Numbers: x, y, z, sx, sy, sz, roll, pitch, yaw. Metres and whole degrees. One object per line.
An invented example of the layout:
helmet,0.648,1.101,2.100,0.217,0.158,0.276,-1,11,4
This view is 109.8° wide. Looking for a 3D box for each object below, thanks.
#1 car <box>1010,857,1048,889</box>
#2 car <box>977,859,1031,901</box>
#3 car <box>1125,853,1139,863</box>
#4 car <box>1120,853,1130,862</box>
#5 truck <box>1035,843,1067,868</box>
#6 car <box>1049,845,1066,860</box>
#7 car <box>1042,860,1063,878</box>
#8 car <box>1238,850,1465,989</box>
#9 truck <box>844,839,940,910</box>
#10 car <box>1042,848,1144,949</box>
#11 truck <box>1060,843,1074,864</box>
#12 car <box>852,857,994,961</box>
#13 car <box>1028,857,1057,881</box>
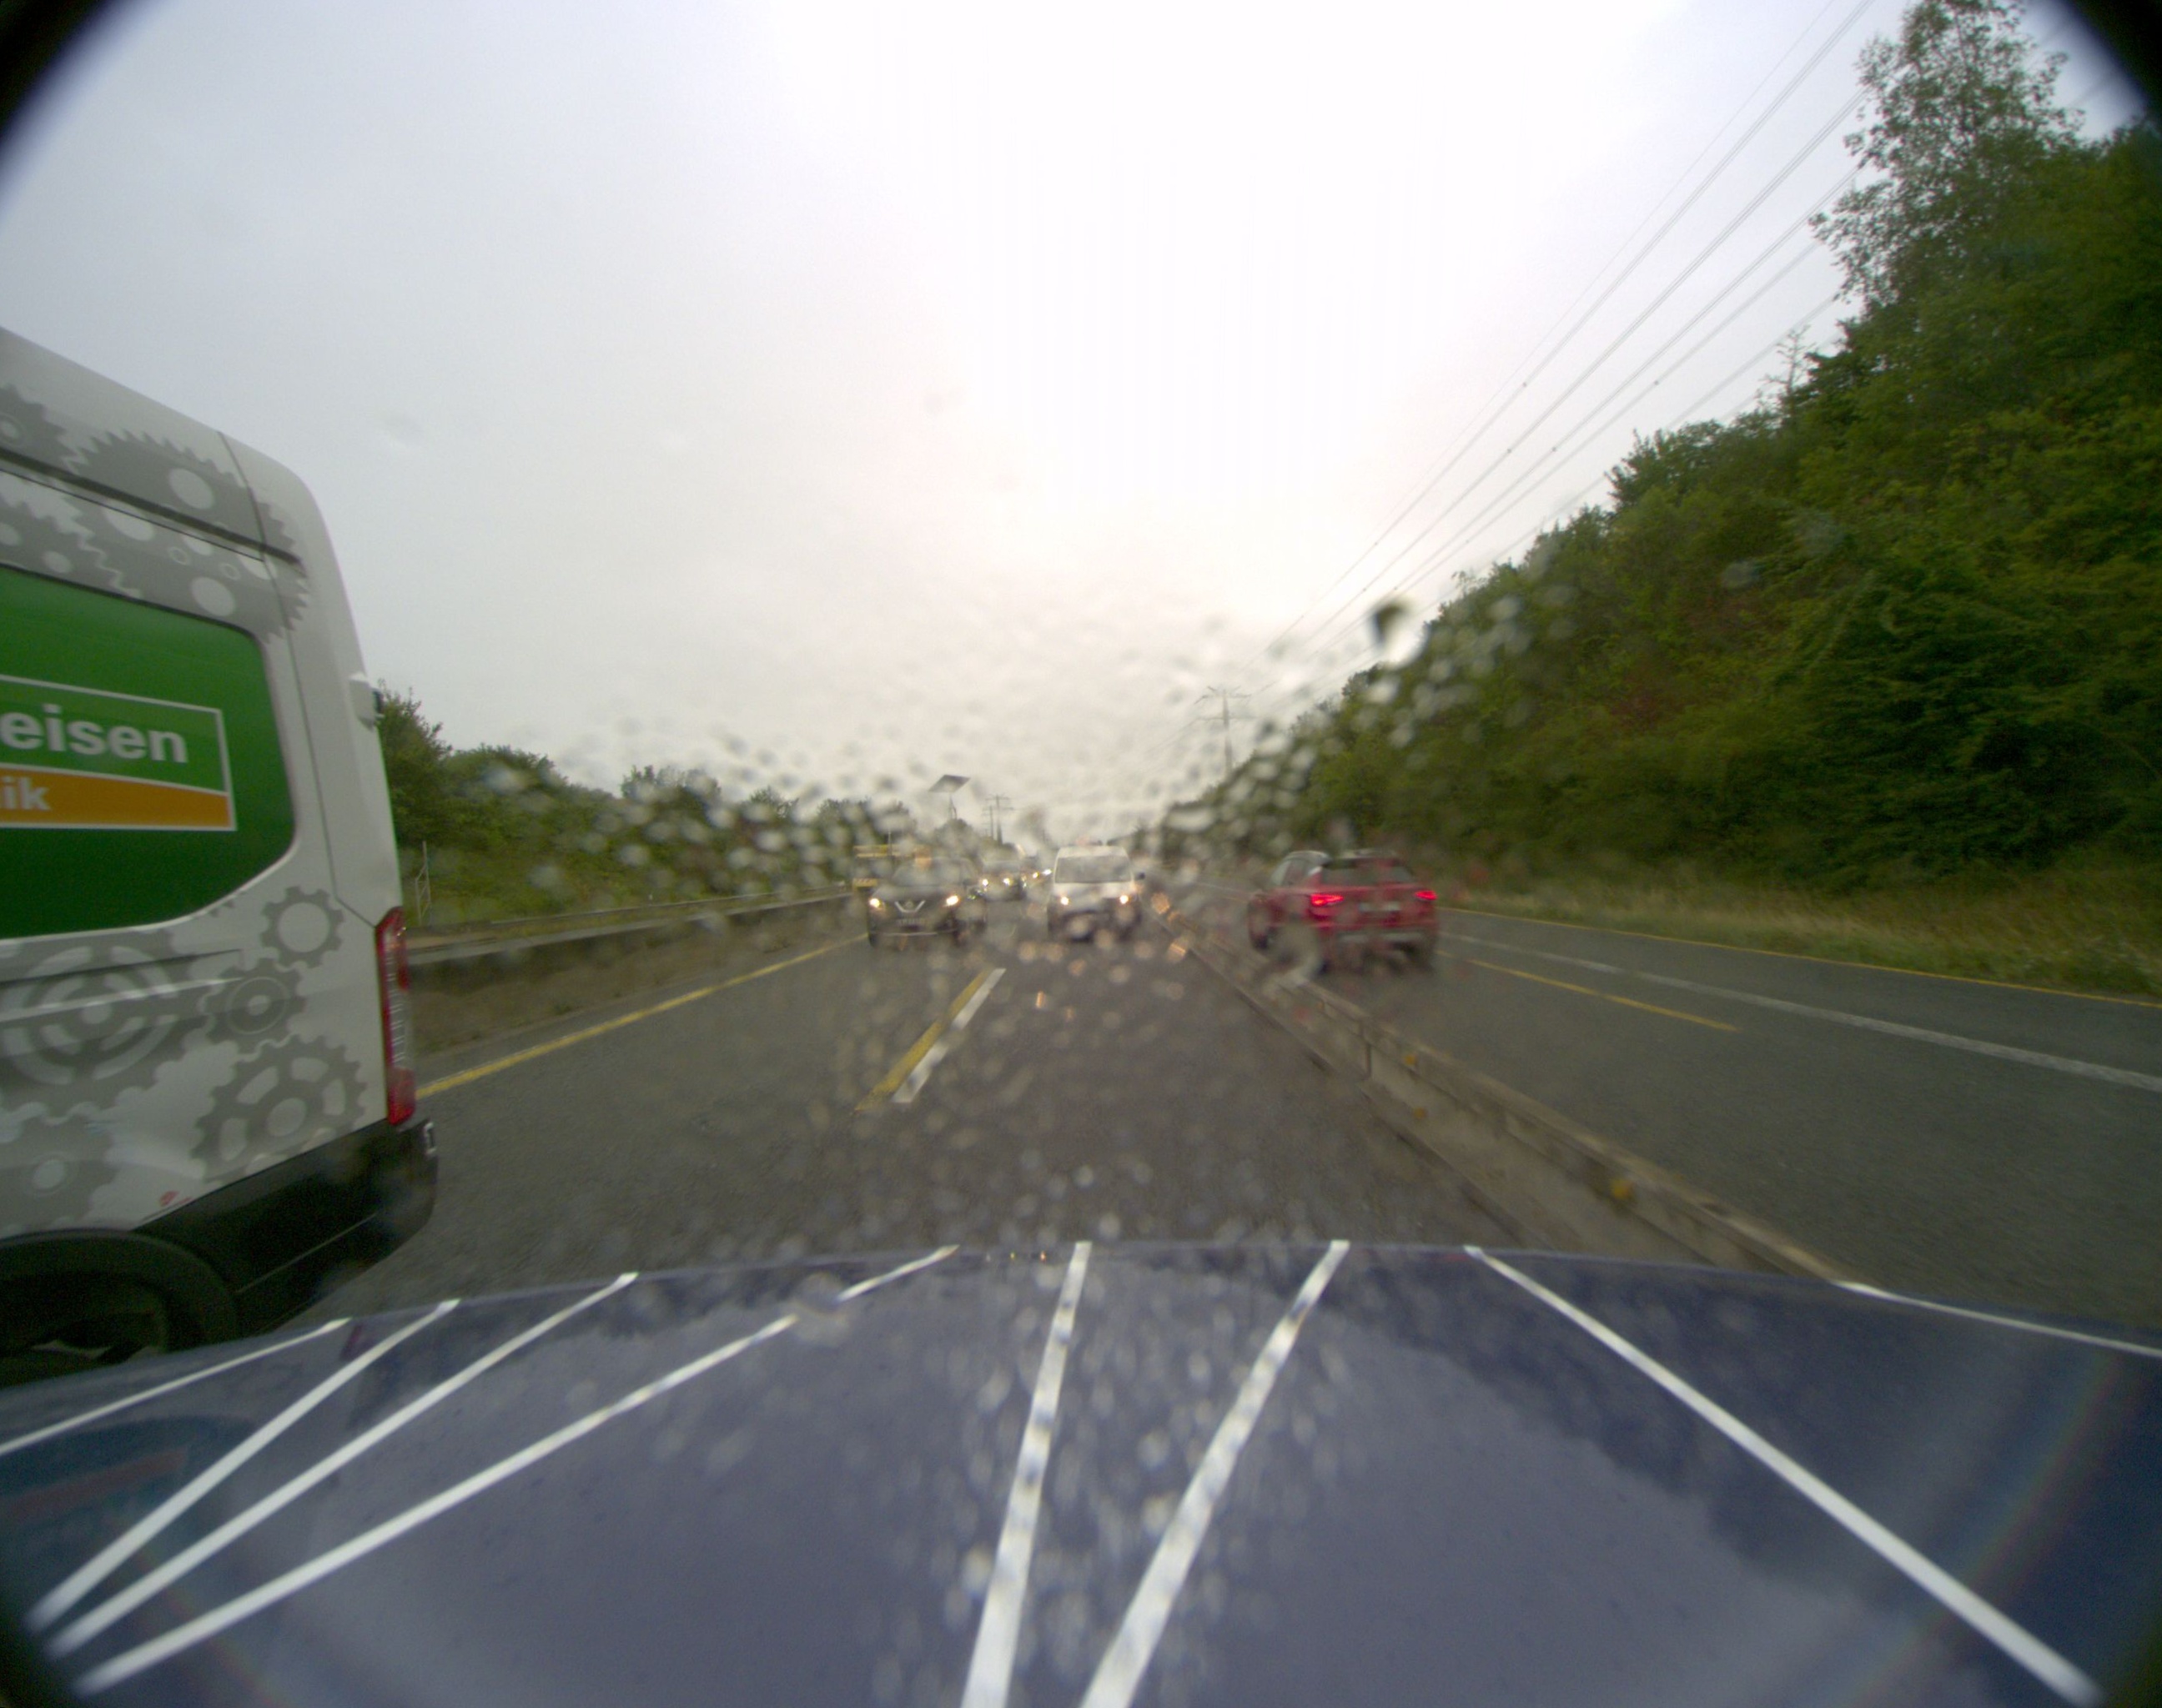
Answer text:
car,-2.825,1.013,42.130,1.784,1.589,4.123,-2,1,-1
car,-3.035,0.995,30.760,1.784,1.482,4.123,-2,1,-1
car,7.998,0.638,119.543,1.778,1.442,4.449,-2,1,0
car,8.804,0.730,152.656,1.875,1.593,4.000,-2,1,1
truck,-4.503,0.224,111.106,2.622,3.404,9.563,-2,1,-14
car,-2.488,-0.201,81.430,1.784,1.482,4.123,-2,1,-1
car,-2.651,1.402,70.449,1.784,1.482,4.123,-2,1,-1
car,3.550,0.753,10.820,1.799,1.546,4.000,-2,1,0
truck,-10.279,0.979,42.605,2.619,3.404,9.575,-2,1,2
car,0.195,0.785,16.070,1.784,1.775,4.697,-2,1,-1
truck,-2.696,-0.163,149.147,2.619,3.868,9.574,-2,1,-1
car,-2.994,0.960,15.434,1.894,1.665,4.640,-2,1,-1
car,-2.627,0.974,52.122,1.784,1.482,4.123,-2,1,-1
